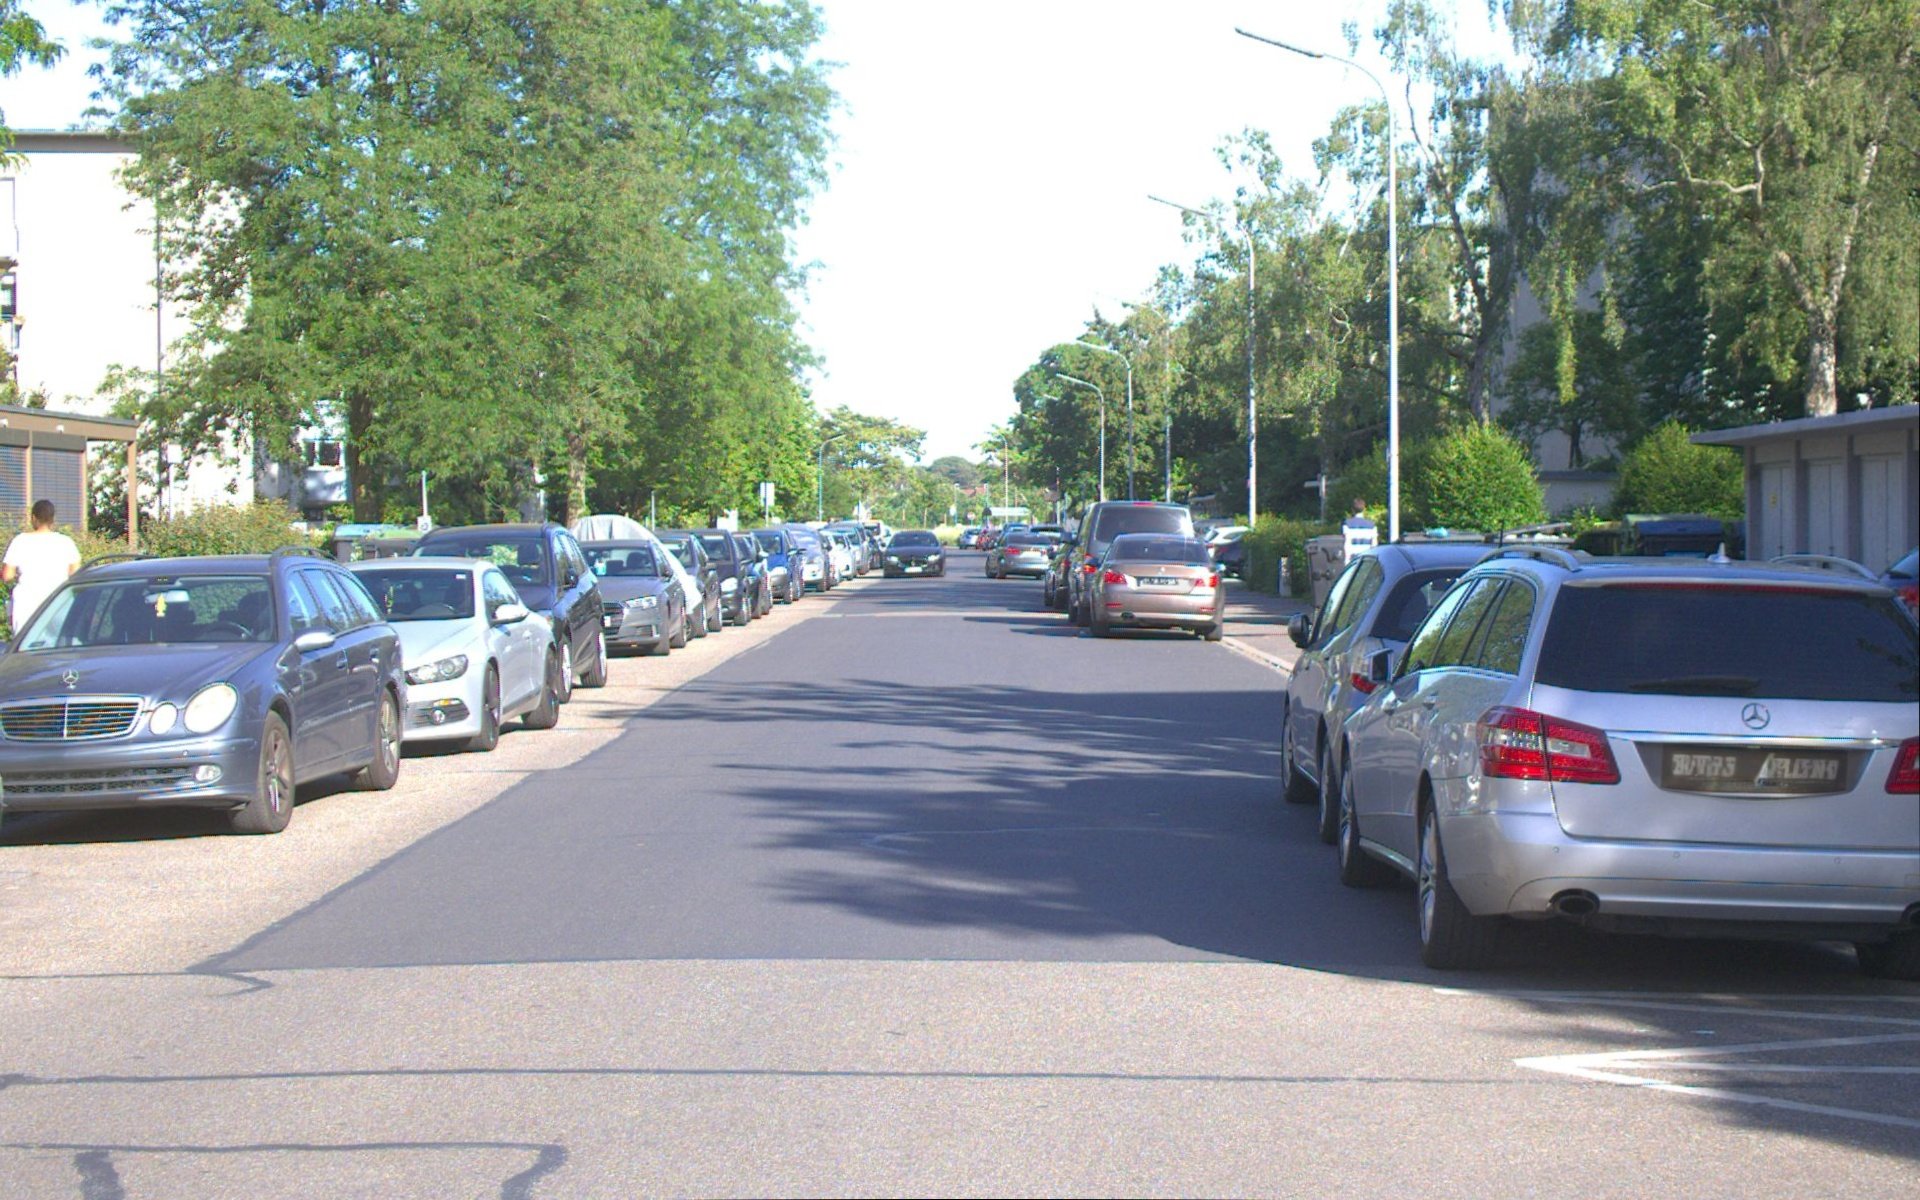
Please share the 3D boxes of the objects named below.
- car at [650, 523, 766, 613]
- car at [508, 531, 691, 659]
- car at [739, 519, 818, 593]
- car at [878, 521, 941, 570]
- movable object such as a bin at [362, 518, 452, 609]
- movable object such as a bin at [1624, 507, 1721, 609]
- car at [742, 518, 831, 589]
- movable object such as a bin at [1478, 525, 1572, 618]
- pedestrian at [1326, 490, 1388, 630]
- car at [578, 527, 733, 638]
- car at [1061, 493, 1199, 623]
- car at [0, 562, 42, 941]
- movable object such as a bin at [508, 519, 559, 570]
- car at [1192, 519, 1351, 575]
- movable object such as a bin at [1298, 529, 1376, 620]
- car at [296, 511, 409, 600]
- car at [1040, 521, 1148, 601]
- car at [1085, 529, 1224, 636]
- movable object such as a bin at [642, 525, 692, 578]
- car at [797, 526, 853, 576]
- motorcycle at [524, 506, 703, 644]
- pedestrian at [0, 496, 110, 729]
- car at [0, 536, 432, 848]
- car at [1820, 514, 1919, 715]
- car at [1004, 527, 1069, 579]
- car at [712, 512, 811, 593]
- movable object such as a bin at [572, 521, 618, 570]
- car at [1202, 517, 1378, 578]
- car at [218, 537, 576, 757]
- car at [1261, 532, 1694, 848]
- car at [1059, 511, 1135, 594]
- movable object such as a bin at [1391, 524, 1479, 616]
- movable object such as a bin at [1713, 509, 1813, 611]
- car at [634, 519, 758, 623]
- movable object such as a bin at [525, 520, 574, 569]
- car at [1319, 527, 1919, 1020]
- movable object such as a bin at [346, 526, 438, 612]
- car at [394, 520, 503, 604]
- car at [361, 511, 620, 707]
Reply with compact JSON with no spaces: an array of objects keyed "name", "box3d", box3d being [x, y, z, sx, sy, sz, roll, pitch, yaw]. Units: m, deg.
[{"name":"car","box3d":[-4.448,-0.592,61.124,1.754,1.476,4.538,-2,1,-1]},{"name":"car","box3d":[-4.367,-0.106,42.197,1.754,1.416,4.269,-2,1,0]},{"name":"car","box3d":[-4.085,-1.020,77.856,1.635,1.600,3.535,-1,1,-1]},{"name":"car","box3d":[-1.579,-1.728,108.068,1.910,1.471,4.571,-1,1,0]},{"name":"movable object such as a bin","box3d":[-8.736,-0.584,54.381,1.177,1.403,1.343,1,1,1]},{"name":"movable object such as a bin","box3d":[10.798,-0.649,52.156,1.276,1.460,1.133,0,5,4]},{"name":"car","box3d":[-4.198,-1.153,83.647,1.903,1.634,4.349,-1,1,0]},{"name":"movable object such as a bin","box3d":[8.441,-0.434,51.401,1.276,1.360,1.133,0,1,4]},{"name":"pedestrian","box3d":[5.457,-0.561,47.308,0.703,1.882,0.872,-2,1,1]},{"name":"car","box3d":[-4.388,-0.286,50.038,1.754,1.476,3.959,-2,1,2]},{"name":"car","box3d":[2.656,-0.692,54.581,1.852,1.927,4.705,1,1,-1]},{"name":"car","box3d":[-4.539,0.639,12.165,1.648,1.459,3.496,-1,1,-1]},{"name":"movable object such as a bin","box3d":[-12.401,-1.617,99.986,1.177,1.416,1.462,3,1,2]},{"name":"car","box3d":[9.003,-1.540,99.626,4.415,1.508,1.829,-1,1,1]},{"name":"movable object such as a bin","box3d":[5.791,-0.400,52.757,1.026,1.305,1.386,-3,1,10]},{"name":"car","box3d":[-11.634,-0.874,66.038,1.570,1.635,4.001,1,1,-2]},{"name":"car","box3d":[2.578,-0.787,66.947,1.731,1.484,4.502,-1,1,-2]},{"name":"car","box3d":[2.708,-0.284,48.682,1.801,1.414,4.636,1,1,2]},{"name":"movable object such as a bin","box3d":[-7.831,-1.302,91.954,1.136,1.378,1.442,2,1,2]},{"name":"car","box3d":[-4.140,-1.518,105.860,1.686,1.500,3.818,-1,1,-2]},{"name":"motorcycle","box3d":[-4.625,-0.340,45.983,2.256,1.721,0.932,-3,1,-2]},{"name":"pedestrian","box3d":[-6.628,0.083,25.034,0.720,1.673,0.616,0,1,0]},{"name":"car","box3d":[-4.355,0.437,19.449,1.754,1.485,4.900,-3,1,2]},{"name":"car","box3d":[8.966,0.097,26.485,4.182,1.489,1.818,0,1,-3]},{"name":"car","box3d":[2.323,-1.446,104.801,1.679,1.508,4.105,2,1,-2]},{"name":"car","box3d":[-4.183,-1.018,72.876,1.754,1.600,3.969,-2,1,1]},{"name":"movable object such as a bin","box3d":[-10.976,-1.657,103.412,1.134,1.416,1.361,2,1,1]},{"name":"car","box3d":[8.740,-1.403,91.421,4.513,1.508,1.829,-1,1,2]},{"name":"car","box3d":[-4.037,0.292,25.300,1.754,1.420,4.210,-2,1,2]},{"name":"car","box3d":[2.650,0.393,18.401,1.804,1.489,3.795,0,1,1]},{"name":"car","box3d":[2.938,-1.036,74.220,1.489,1.712,2.583,1,1,0]},{"name":"movable object such as a bin","box3d":[7.152,-0.461,51.804,1.224,1.360,1.133,0,1,4]},{"name":"movable object such as a bin","box3d":[12.151,-0.611,52.061,1.276,1.460,1.133,0,5,4]},{"name":"car","box3d":[-4.255,-0.491,55.924,1.754,1.568,3.721,-2,1,-1]},{"name":"movable object such as a bin","box3d":[-12.269,-1.665,102.845,1.177,1.416,1.462,3,1,2]},{"name":"car","box3d":[2.499,0.502,13.232,1.831,1.540,4.641,0,1,1]},{"name":"movable object such as a bin","box3d":[-8.740,-0.487,52.931,1.177,1.283,1.343,1,1,1]},{"name":"car","box3d":[-9.688,-0.739,65.346,1.570,1.520,4.001,1,1,-2]},{"name":"car","box3d":[-4.283,0.028,31.977,1.754,1.630,4.371,-2,1,0]}]
